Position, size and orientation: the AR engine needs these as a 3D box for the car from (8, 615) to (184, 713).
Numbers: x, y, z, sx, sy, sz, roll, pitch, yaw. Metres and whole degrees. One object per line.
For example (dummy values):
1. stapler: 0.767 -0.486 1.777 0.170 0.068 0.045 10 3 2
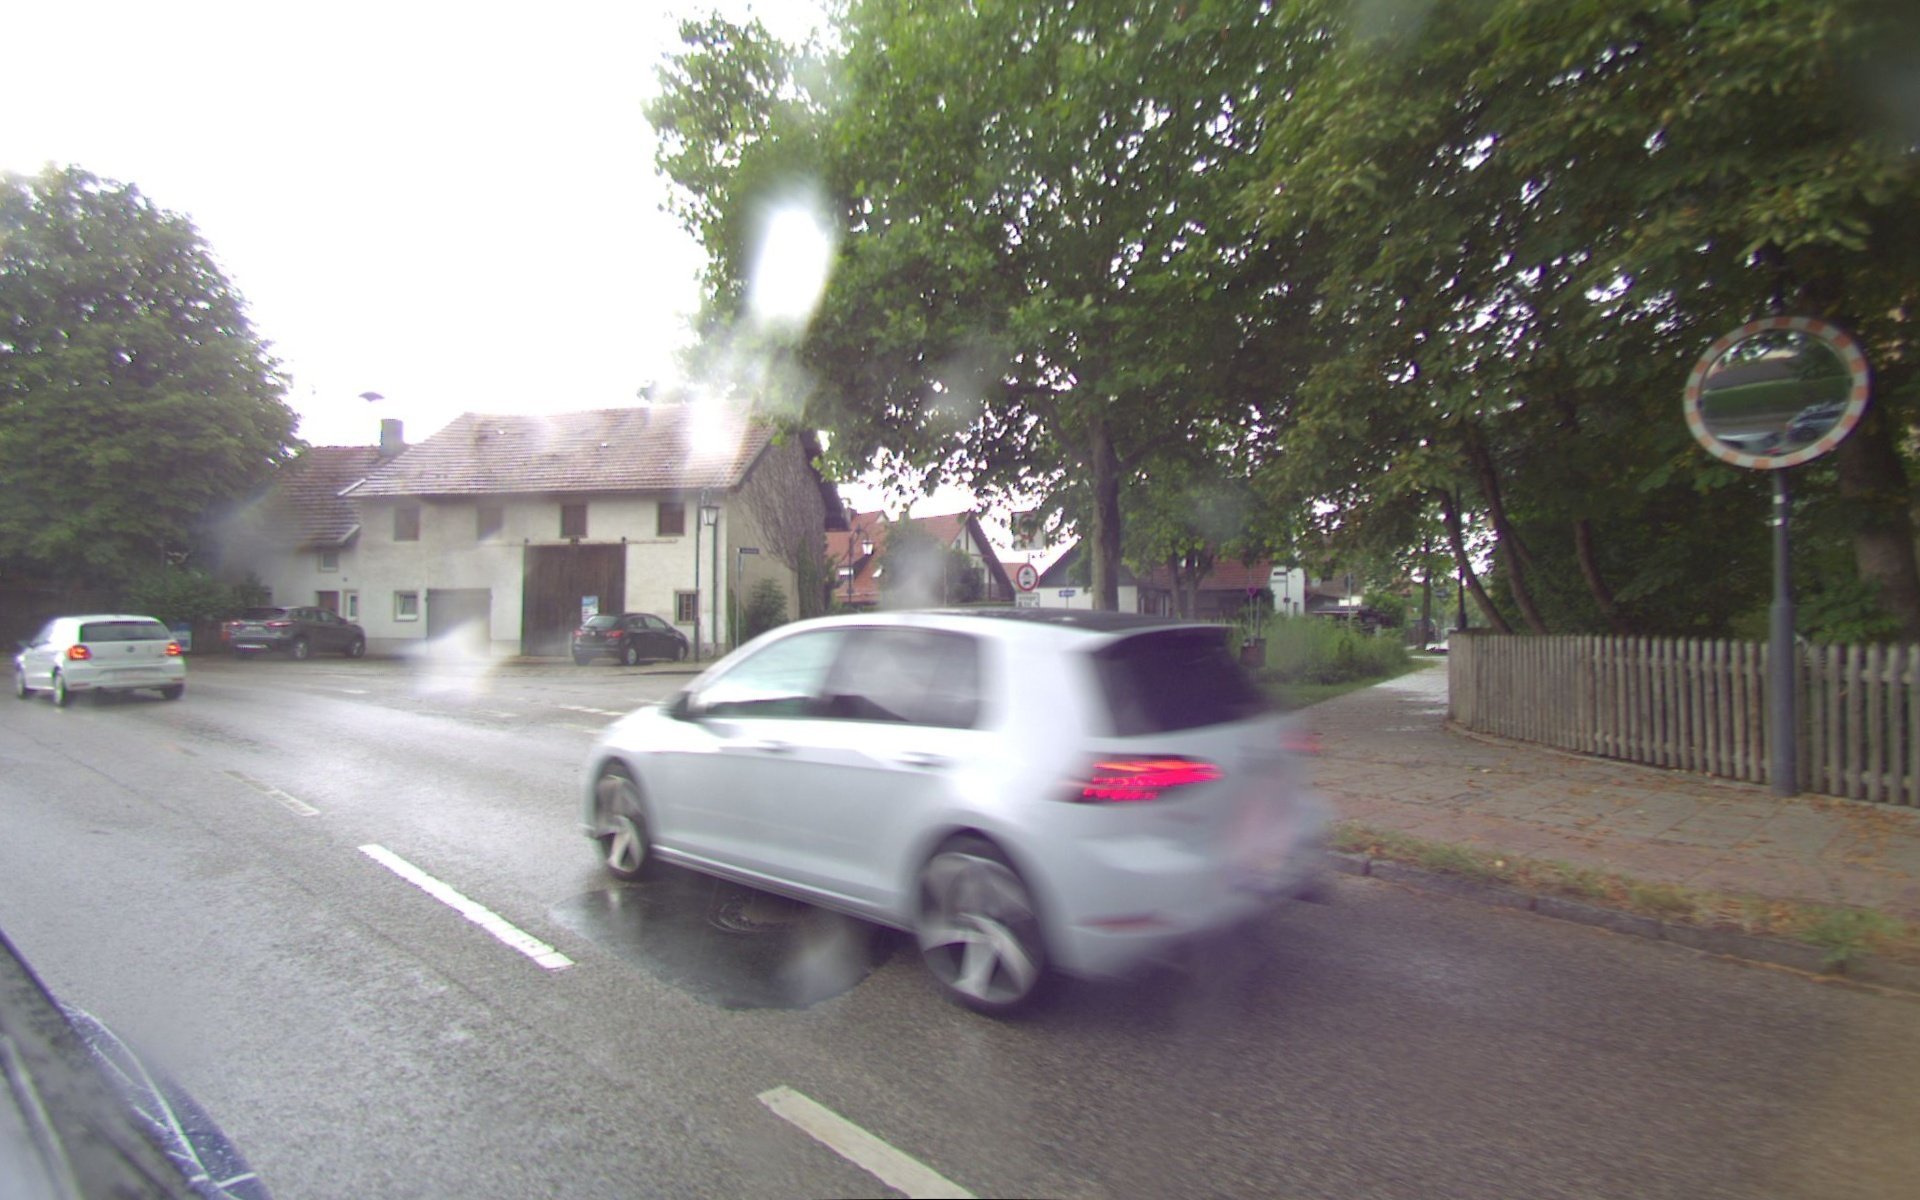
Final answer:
1. car: -14.862 1.016 17.359 3.665 1.455 1.602 0 0 38

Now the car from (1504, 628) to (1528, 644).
1. car: 56.230 3.649 102.353 1.990 1.453 3.963 0 1 27

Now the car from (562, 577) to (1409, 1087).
1. car: -0.199 0.652 4.888 4.001 1.453 1.697 0 1 44

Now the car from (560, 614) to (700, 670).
1. car: -9.166 1.116 28.500 1.803 1.447 4.262 0 -1 13

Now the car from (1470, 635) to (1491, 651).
1. car: 55.329 4.585 107.567 1.990 1.453 3.963 0 1 27

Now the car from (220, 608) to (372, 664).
1. car: -19.731 1.099 30.324 1.792 1.560 4.282 0 -3 -1

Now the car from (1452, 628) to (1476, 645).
1. car: 48.359 3.494 97.033 1.990 1.453 3.963 0 1 27

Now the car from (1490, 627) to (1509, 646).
1. car: 64.786 4.391 121.450 1.991 2.029 3.961 0 1 28
